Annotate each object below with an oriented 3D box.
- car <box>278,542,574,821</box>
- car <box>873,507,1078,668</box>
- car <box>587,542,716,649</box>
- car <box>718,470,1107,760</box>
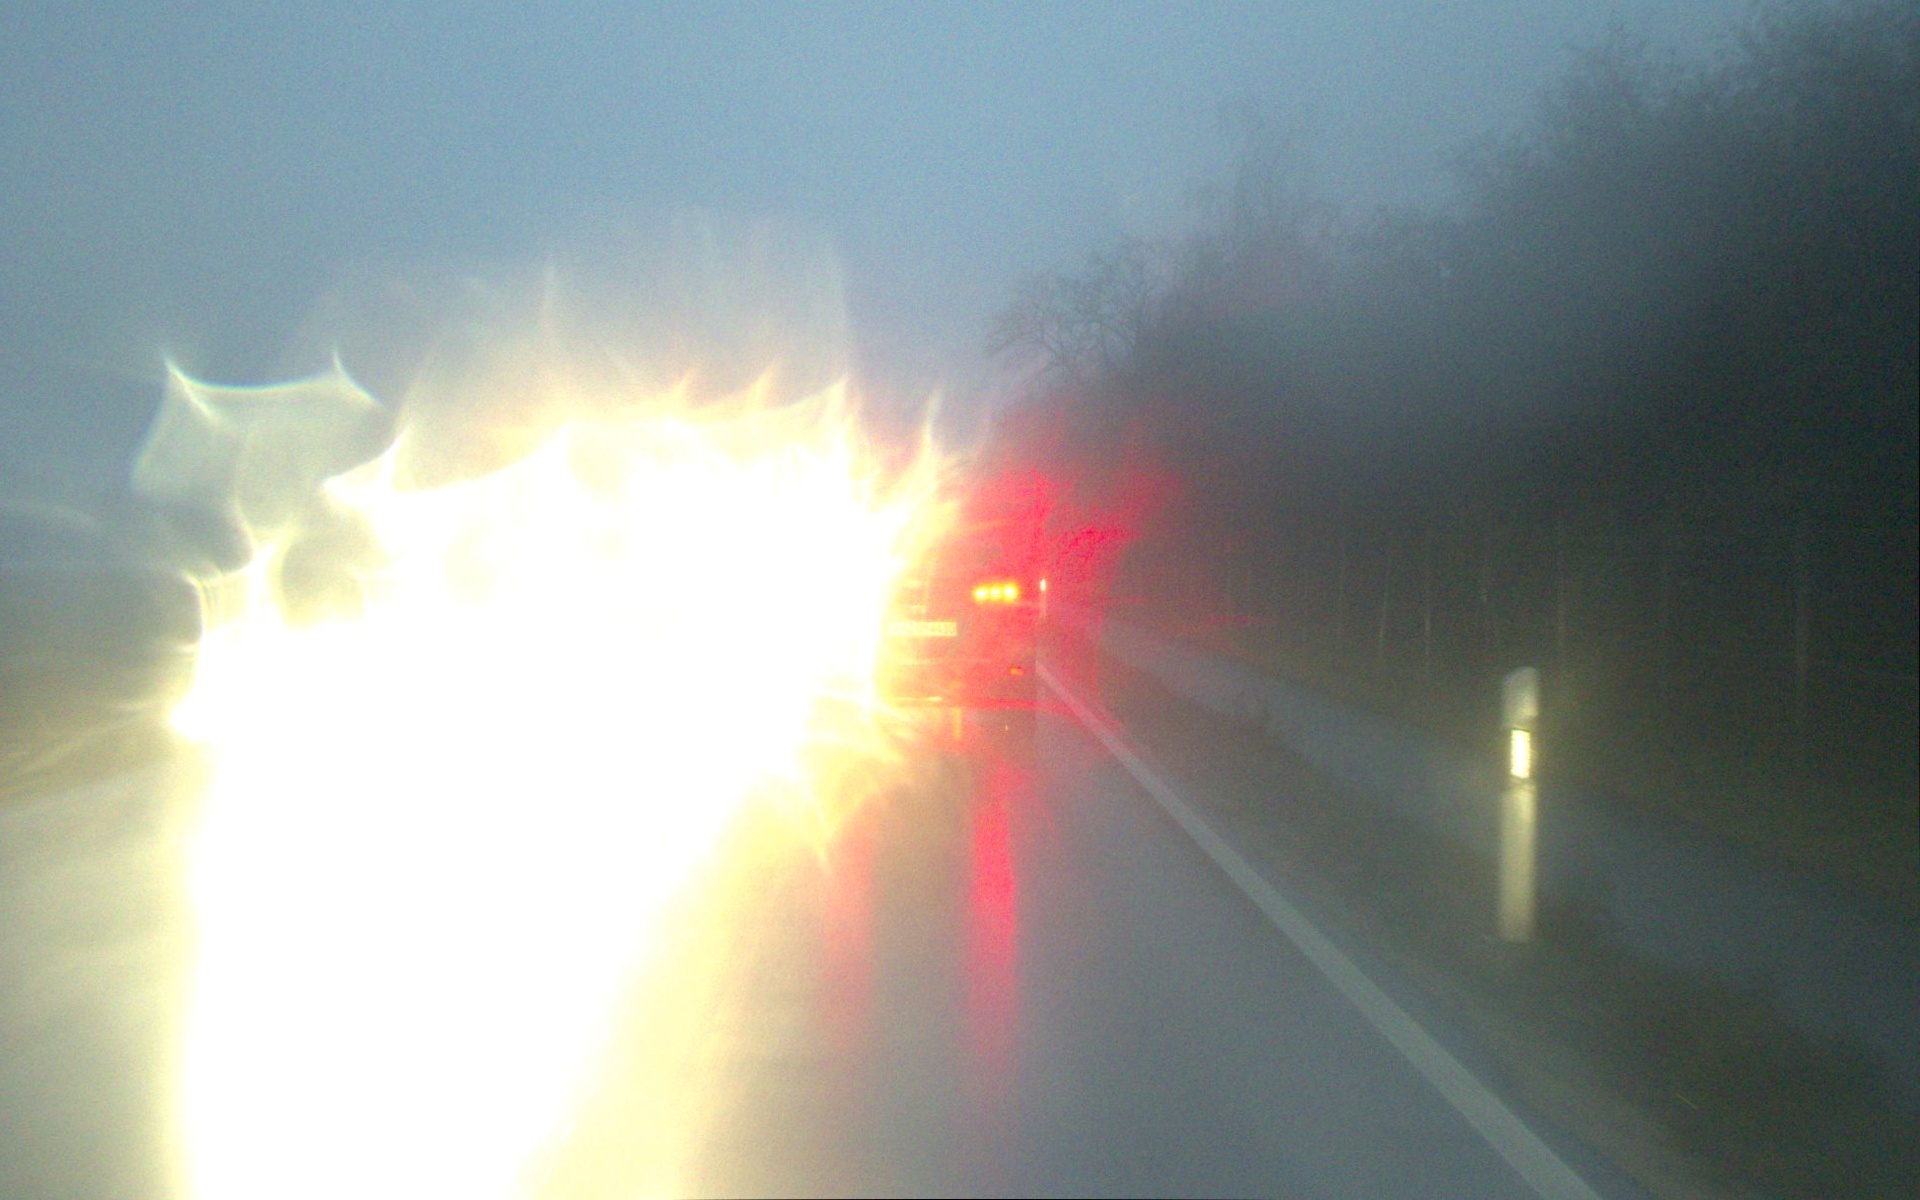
[{"bbox_3d":[-4.349,0.588,28.608,1.915,2.130,4.314,-1,1,-2],"label":"car"},{"bbox_3d":[0.219,-0.200,47.309,2.592,2.007,5.804,2,1,0],"label":"car"},{"bbox_3d":[-5.152,-0.107,57.876,1.915,1.706,4.314,-1,1,-2],"label":"car"},{"bbox_3d":[-0.336,0.068,28.299,2.820,2.070,5.804,2,1,0],"label":"car"}]
